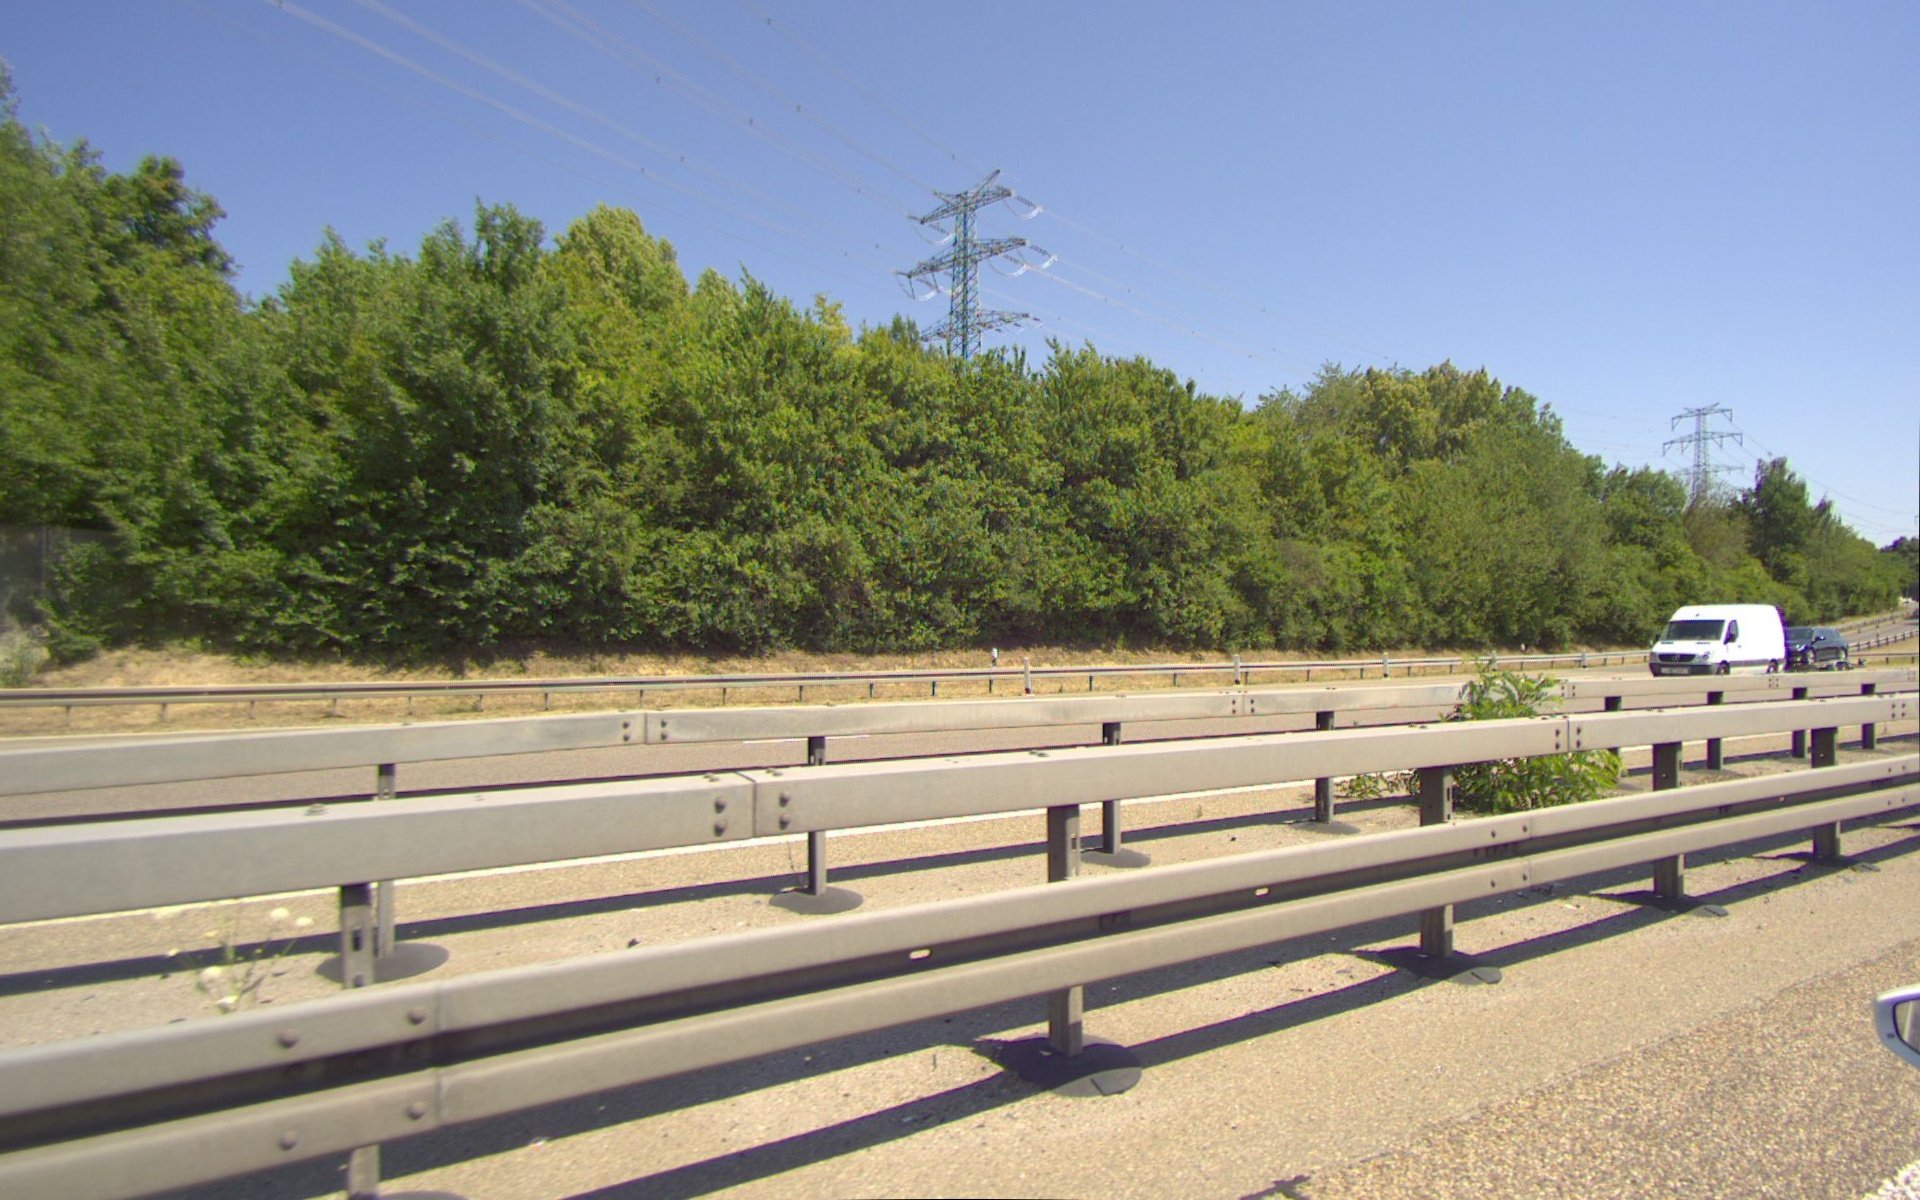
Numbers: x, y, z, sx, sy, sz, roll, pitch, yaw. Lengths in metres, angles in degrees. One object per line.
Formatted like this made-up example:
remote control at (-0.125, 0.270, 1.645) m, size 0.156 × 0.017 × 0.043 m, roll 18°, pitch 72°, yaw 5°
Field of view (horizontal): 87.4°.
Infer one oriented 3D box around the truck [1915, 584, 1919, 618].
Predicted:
truck at (114.392, 0.067, 117.781) m, size 4.287 × 3.948 × 2.920 m, roll -2°, pitch 0°, yaw -39°

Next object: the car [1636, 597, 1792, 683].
car at (25.588, 1.341, 34.034) m, size 5.935 × 2.674 × 2.099 m, roll 1°, pitch -2°, yaw -31°

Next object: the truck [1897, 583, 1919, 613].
truck at (137.817, -0.234, 145.232) m, size 11.705 × 4.061 × 2.526 m, roll 1°, pitch 0°, yaw -43°

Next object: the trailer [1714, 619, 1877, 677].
trailer at (31.008, 1.762, 37.213) m, size 6.651 × 1.971 × 2.749 m, roll 1°, pitch -3°, yaw -33°
